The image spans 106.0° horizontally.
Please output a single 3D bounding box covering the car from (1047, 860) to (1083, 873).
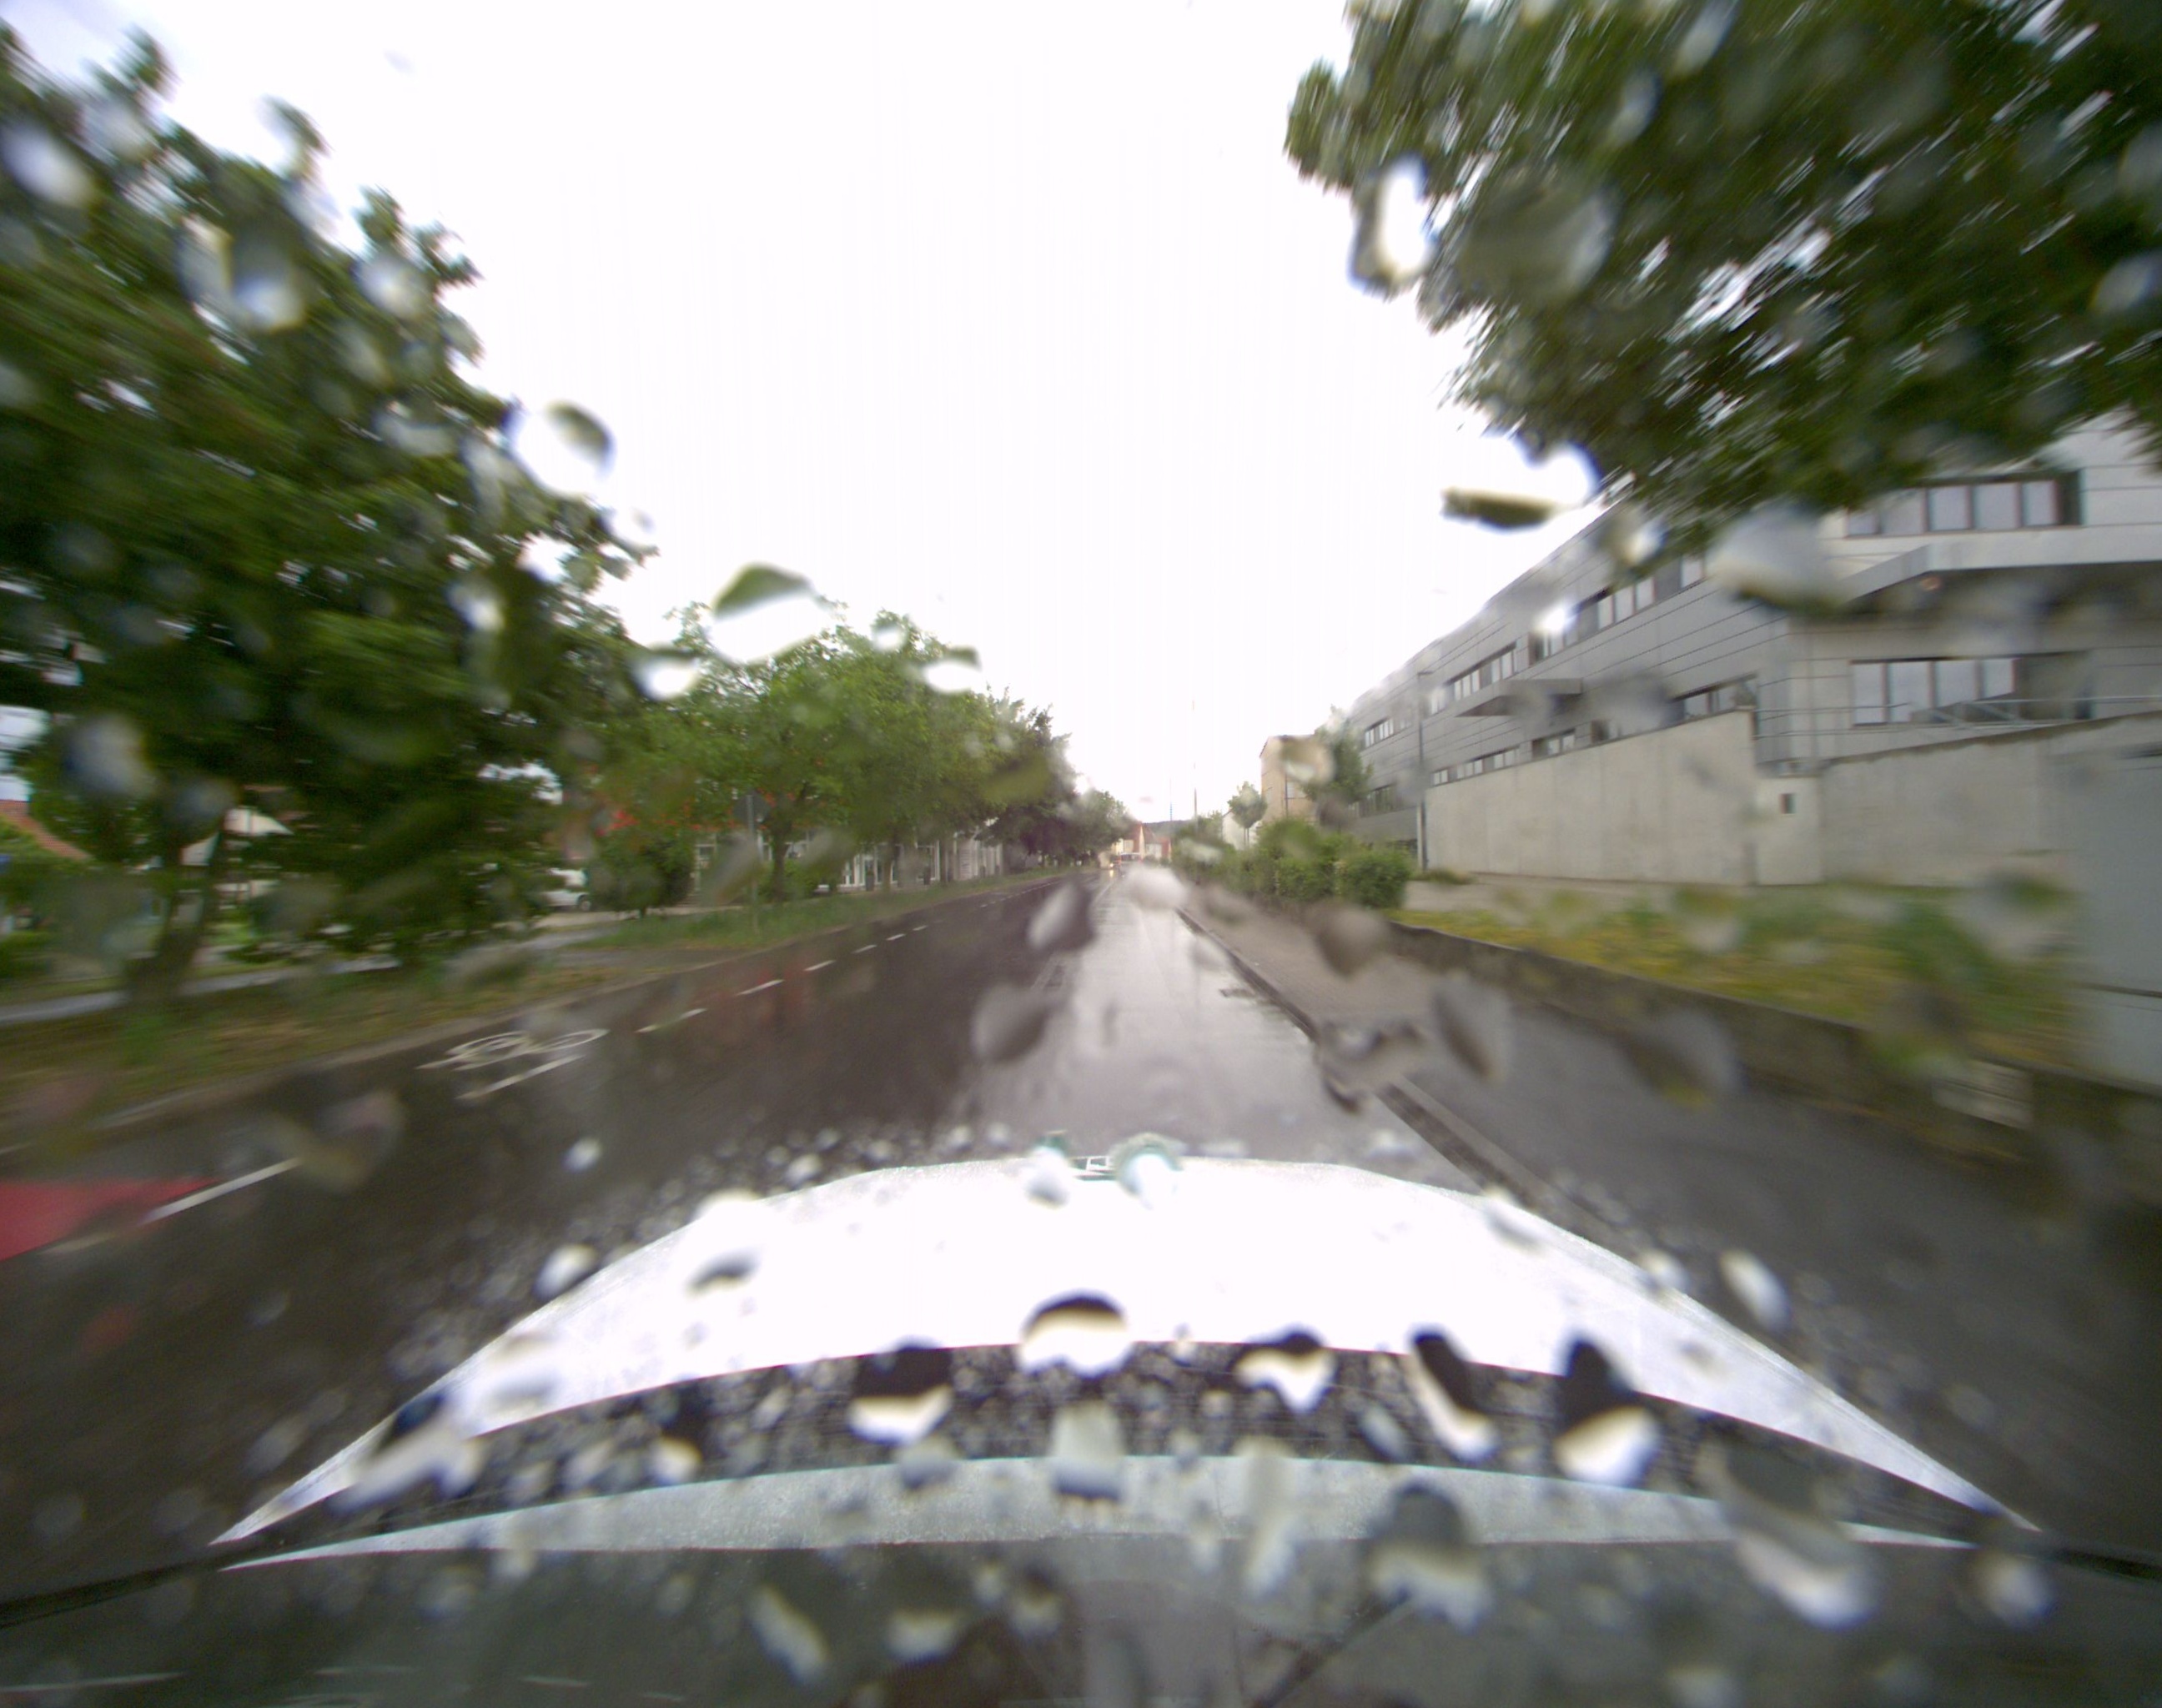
[{"bbox_3d":[-1.829,1.500,94.575,3.881,1.284,1.584,-3,-2,5],"label":"car"}]

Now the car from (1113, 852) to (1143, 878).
[{"bbox_3d":[3.635,0.835,63.953,2.110,1.888,4.502,0,0,1],"label":"car"}]

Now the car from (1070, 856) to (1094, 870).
[{"bbox_3d":[0.111,1.147,102.854,2.894,1.455,1.255,-3,-4,5],"label":"car"}]

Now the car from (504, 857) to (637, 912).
[{"bbox_3d":[-22.267,1.296,35.614,4.455,2.310,2.188,0,0,5],"label":"car"}]

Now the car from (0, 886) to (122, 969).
[{"bbox_3d":[-22.809,1.542,16.501,2.113,1.556,4.155,0,0,-8],"label":"car"}]

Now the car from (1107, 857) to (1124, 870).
[{"bbox_3d":[4.437,1.183,104.154,1.842,1.554,4.508,0,0,5],"label":"car"}]

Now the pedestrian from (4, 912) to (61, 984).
[{"bbox_3d":[-28.478,2.534,22.137,0.686,1.837,0.759,-1,0,-27],"label":"pedestrian"}]
